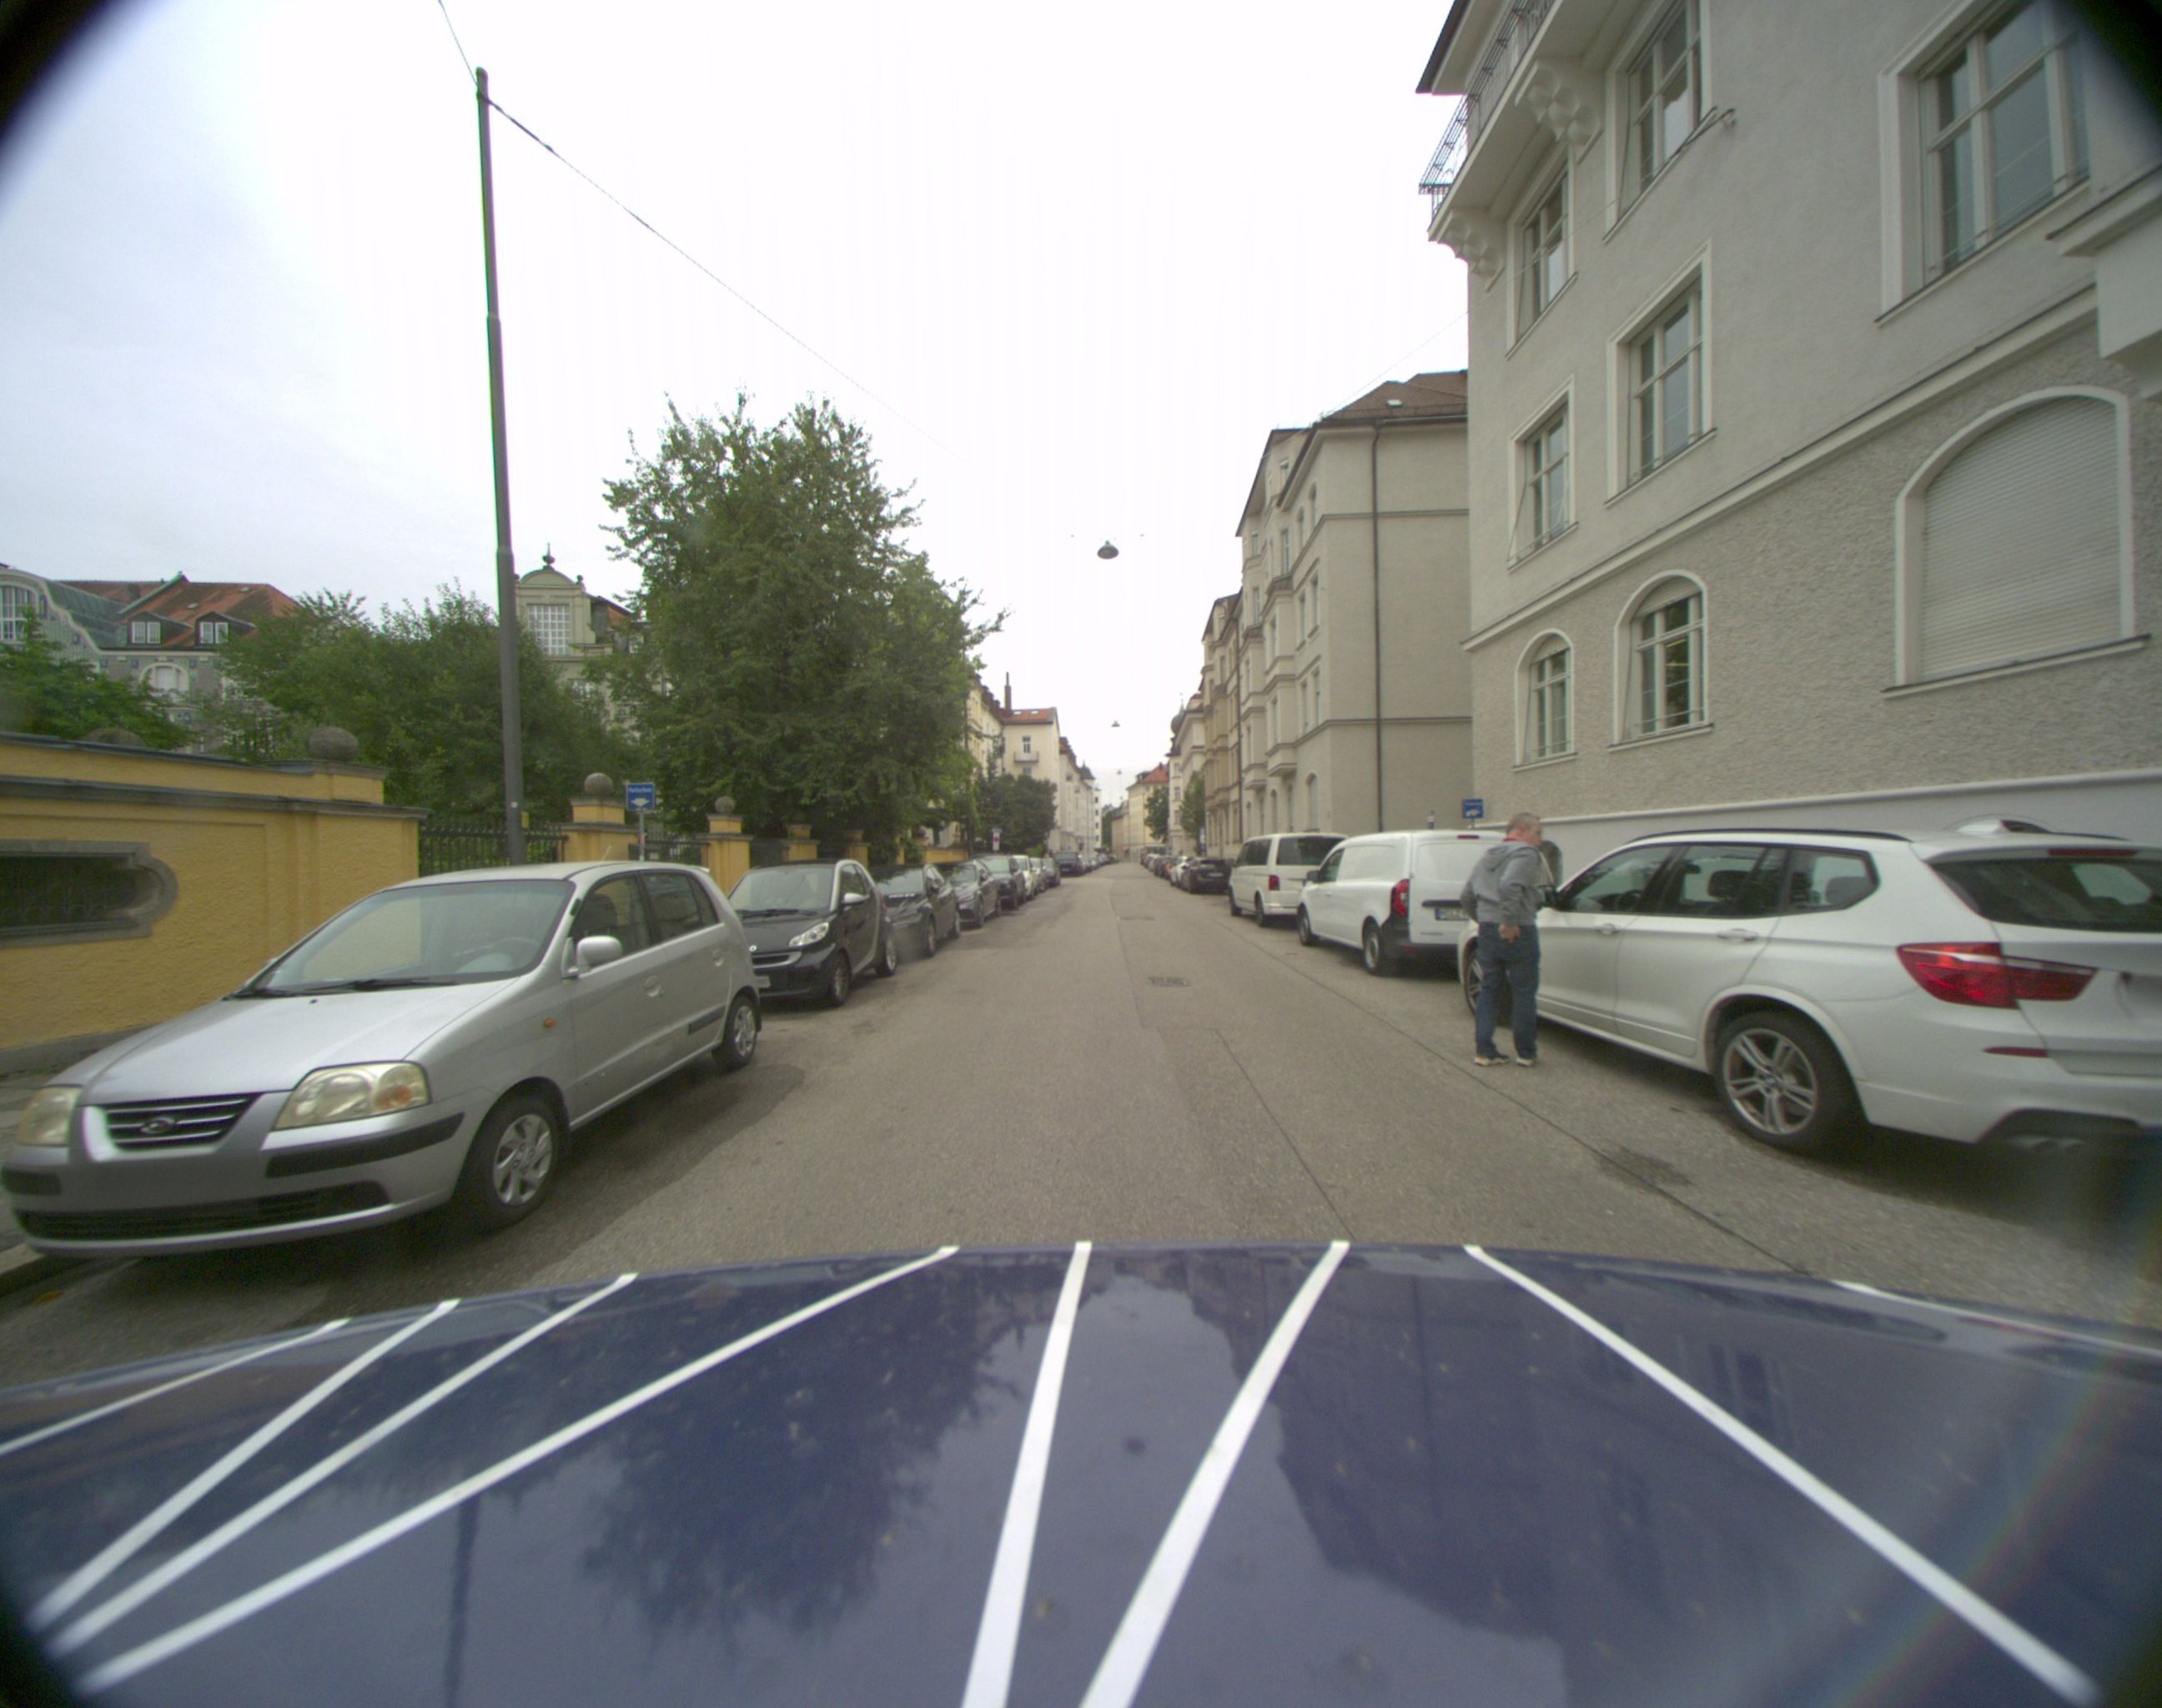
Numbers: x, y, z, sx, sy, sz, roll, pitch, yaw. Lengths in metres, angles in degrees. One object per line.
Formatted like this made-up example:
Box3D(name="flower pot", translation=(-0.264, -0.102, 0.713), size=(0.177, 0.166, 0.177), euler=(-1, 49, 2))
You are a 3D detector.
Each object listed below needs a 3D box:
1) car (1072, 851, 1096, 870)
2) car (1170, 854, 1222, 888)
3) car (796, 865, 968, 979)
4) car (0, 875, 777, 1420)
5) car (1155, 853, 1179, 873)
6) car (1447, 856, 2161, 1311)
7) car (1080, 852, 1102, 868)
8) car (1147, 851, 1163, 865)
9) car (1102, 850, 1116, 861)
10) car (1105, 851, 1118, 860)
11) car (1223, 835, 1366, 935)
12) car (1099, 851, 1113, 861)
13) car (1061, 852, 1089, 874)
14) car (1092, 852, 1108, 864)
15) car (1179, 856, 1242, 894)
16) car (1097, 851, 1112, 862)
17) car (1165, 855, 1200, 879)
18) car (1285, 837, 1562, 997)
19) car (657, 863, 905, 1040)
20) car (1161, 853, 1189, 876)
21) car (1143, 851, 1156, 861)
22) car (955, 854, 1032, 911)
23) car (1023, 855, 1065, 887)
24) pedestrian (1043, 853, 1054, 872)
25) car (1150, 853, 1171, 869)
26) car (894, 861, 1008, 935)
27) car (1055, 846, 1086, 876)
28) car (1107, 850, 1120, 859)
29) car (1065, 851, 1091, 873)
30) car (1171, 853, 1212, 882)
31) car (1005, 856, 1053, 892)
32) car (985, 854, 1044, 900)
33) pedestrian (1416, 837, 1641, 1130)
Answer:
Box3D(name="car", translation=(0.310, 0.595, 71.311), size=(1.998, 1.585, 4.299), euler=(-4, 0, 2))
Box3D(name="car", translation=(5.317, 0.751, 35.650), size=(1.860, 1.455, 4.379), euler=(0, 0, 1))
Box3D(name="car", translation=(-3.047, 0.966, 12.526), size=(1.696, 1.406, 4.036), euler=(-3, 0, 0))
Box3D(name="car", translation=(-3.169, 0.977, 4.208), size=(1.488, 1.530, 3.692), euler=(-3, 0, -2))
Box3D(name="car", translation=(6.387, 0.654, 56.486), size=(1.626, 1.421, 3.942), euler=(0, 0, 5))
Box3D(name="car", translation=(4.356, 0.830, 4.965), size=(1.751, 1.593, 4.496), euler=(0, 0, 0))
Box3D(name="car", translation=(1.102, 0.638, 83.500), size=(1.998, 1.585, 4.300), euler=(-4, 0, 5))
Box3D(name="car", translation=(8.434, 0.427, 86.366), size=(1.626, 1.522, 3.690), euler=(0, 0, 3))
Box3D(name="car", translation=(5.012, 0.281, 133.688), size=(1.998, 1.672, 4.301), euler=(-4, 0, 6))
Box3D(name="car", translation=(5.547, 0.252, 139.102), size=(1.998, 1.585, 4.429), euler=(-4, 0, 6))
Box3D(name="car", translation=(4.564, 0.588, 17.076), size=(1.860, 1.927, 4.957), euler=(0, 0, 1))
Box3D(name="car", translation=(4.266, 0.352, 128.587), size=(1.998, 1.585, 4.300), euler=(-4, 0, 5))
Box3D(name="car", translation=(-0.470, 0.742, 61.208), size=(1.998, 1.585, 3.855), euler=(-4, 0, 1))
Box3D(name="car", translation=(2.732, 0.543, 108.311), size=(1.998, 1.585, 4.300), euler=(-4, 0, 5))
Box3D(name="car", translation=(5.113, 0.788, 30.595), size=(1.860, 1.404, 4.379), euler=(1, 0, 1))
Box3D(name="car", translation=(3.672, 0.425, 119.004), size=(1.998, 1.585, 4.300), euler=(-4, 0, 5))
Box3D(name="car", translation=(6.081, 0.740, 45.907), size=(1.809, 1.355, 3.730), euler=(0, 0, 4))
Box3D(name="car", translation=(4.459, 0.685, 10.915), size=(1.751, 1.778, 5.036), euler=(0, 0, 1))
Box3D(name="car", translation=(-3.180, 0.943, 8.640), size=(1.511, 1.557, 2.869), euler=(-3, 0, 2))
Box3D(name="car", translation=(6.227, 0.656, 50.831), size=(1.626, 1.447, 3.942), euler=(0, 0, 4))
Box3D(name="car", translation=(10.167, 0.286, 112.936), size=(1.626, 1.522, 3.921), euler=(0, 0, 3))
Box3D(name="car", translation=(-2.606, 0.800, 23.652), size=(1.717, 1.561, 4.691), euler=(-1, 0, 1))
Box3D(name="car", translation=(-1.811, 0.794, 38.403), size=(1.717, 1.445, 4.955), euler=(-1, 0, 1))
Box3D(name="pedestrian", translation=(-2.907, 0.768, 68.791), size=(0.876, 1.680, 1.052), euler=(-1, 1, 2))
Box3D(name="car", translation=(7.415, 0.639, 71.086), size=(1.627, 1.421, 3.689), euler=(0, 0, 1))
Box3D(name="car", translation=(-2.851, 0.912, 17.623), size=(1.696, 1.406, 4.516), euler=(-1, 0, 2))
Box3D(name="car", translation=(-0.725, 0.516, 56.198), size=(1.998, 1.949, 4.433), euler=(-4, 0, 1))
Box3D(name="car", translation=(6.187, 0.079, 143.945), size=(1.997, 1.585, 4.301), euler=(-4, 0, 8))
Box3D(name="car", translation=(-0.235, 0.696, 66.375), size=(1.998, 1.643, 4.449), euler=(-4, 0, 1))
Box3D(name="car", translation=(5.803, 0.679, 40.197), size=(1.809, 1.455, 3.938), euler=(0, 0, 4))
Box3D(name="car", translation=(-2.228, 0.820, 33.666), size=(1.717, 1.445, 4.184), euler=(-1, 0, 1))
Box3D(name="car", translation=(-2.446, 0.799, 28.757), size=(1.717, 1.561, 4.320), euler=(-1, 0, 1))
Box3D(name="pedestrian", translation=(2.998, 0.777, 5.143), size=(0.965, 1.745, 0.875), euler=(-2, 1, -22))
